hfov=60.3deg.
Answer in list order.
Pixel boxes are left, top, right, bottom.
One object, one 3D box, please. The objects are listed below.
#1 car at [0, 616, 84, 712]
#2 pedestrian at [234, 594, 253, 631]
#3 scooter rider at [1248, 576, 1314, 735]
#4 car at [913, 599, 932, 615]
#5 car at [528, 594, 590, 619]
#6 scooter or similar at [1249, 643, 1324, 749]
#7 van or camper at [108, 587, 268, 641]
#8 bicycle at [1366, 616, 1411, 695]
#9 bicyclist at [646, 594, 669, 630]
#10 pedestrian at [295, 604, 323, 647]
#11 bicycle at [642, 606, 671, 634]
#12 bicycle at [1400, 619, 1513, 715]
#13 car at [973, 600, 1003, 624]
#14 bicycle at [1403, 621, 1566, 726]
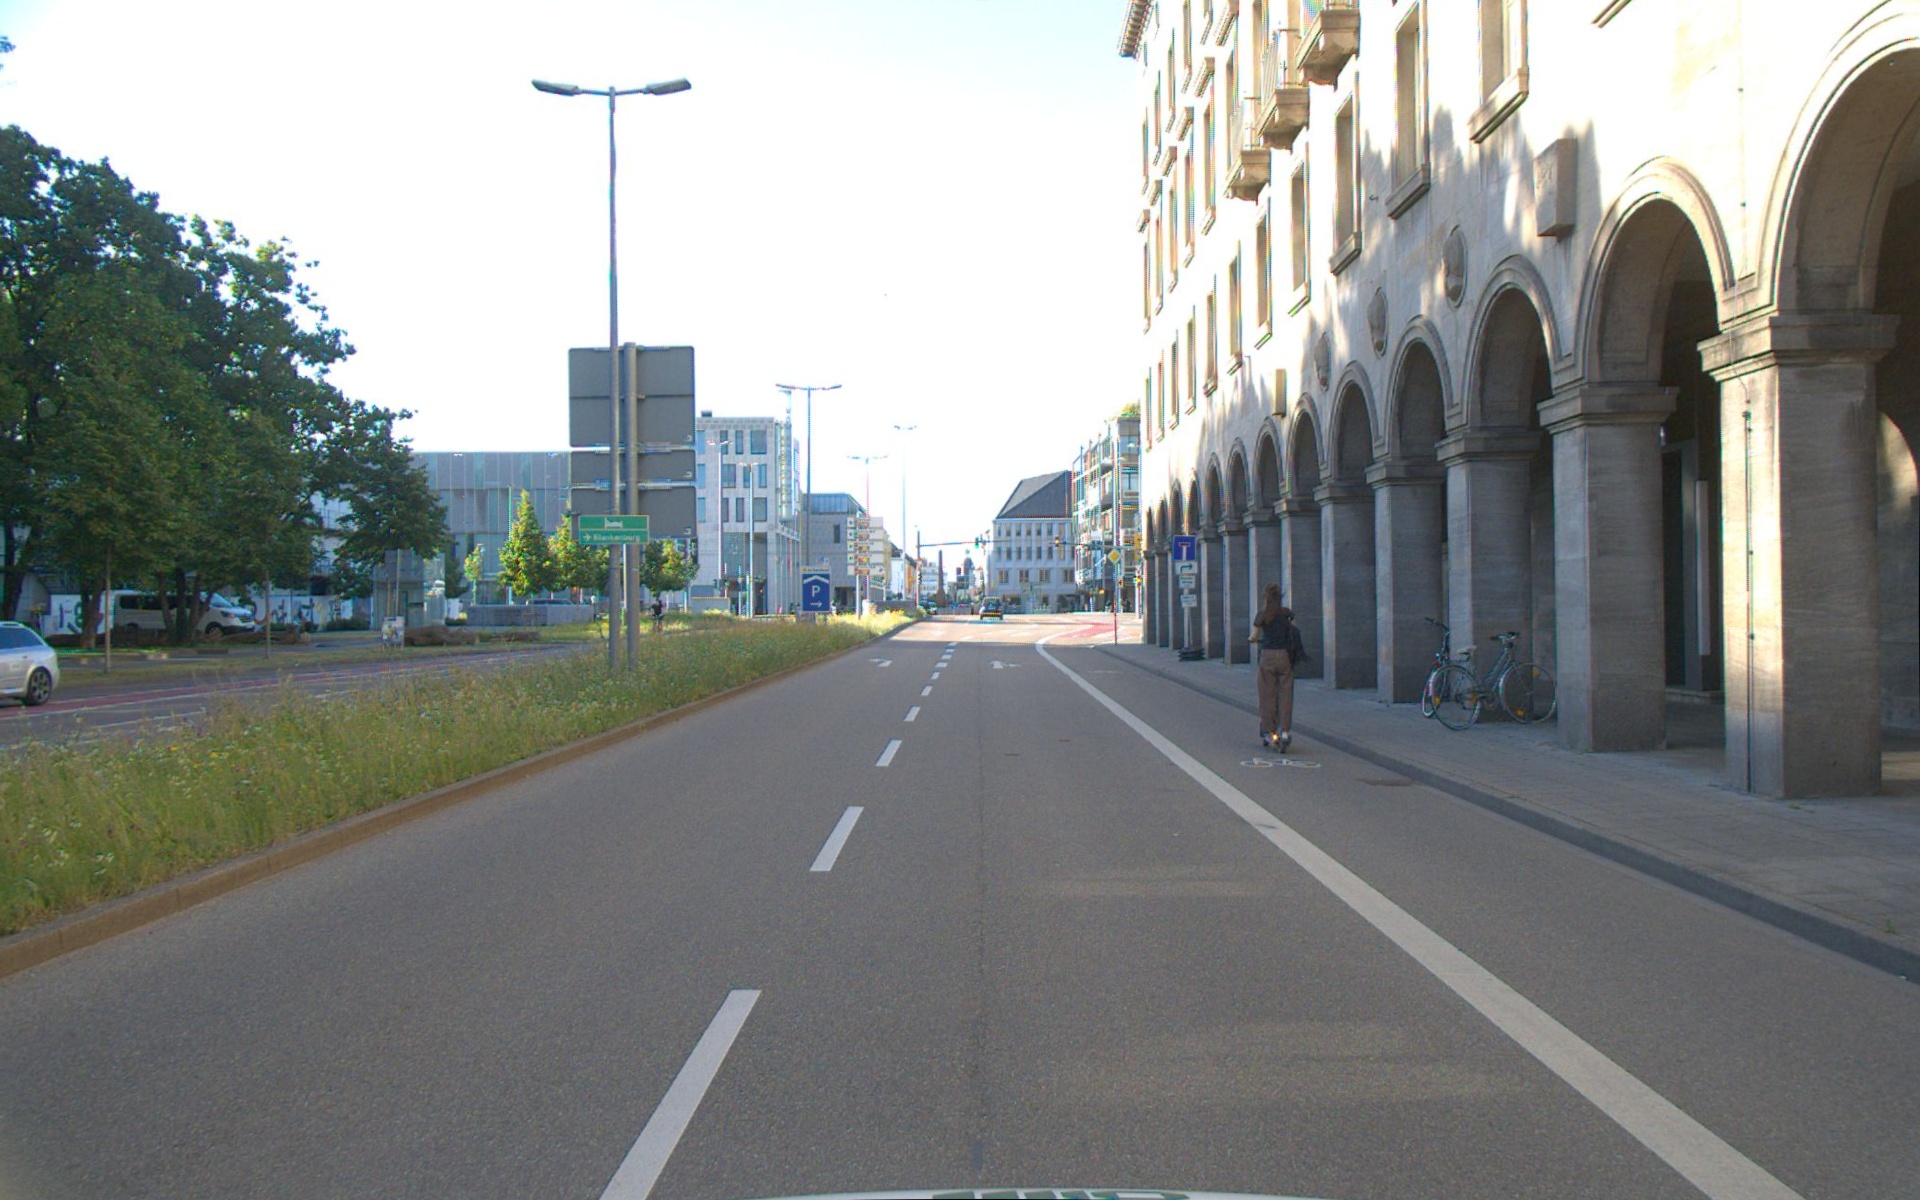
[{"bbox_3d":[-16.617,1.060,26.941,1.892,1.553,4.590,-1,0,6],"label":"car"},{"bbox_3d":[-33.933,0.601,78.339,0.567,1.718,0.835,-1,0,-1],"label":"pedestrian"},{"bbox_3d":[3.416,0.580,17.615,0.550,1.660,0.650,-1,0,-1],"label":"scooter rider"},{"bbox_3d":[-4.226,0.773,187.142,1.952,1.773,4.647,0,1,1],"label":"car"},{"bbox_3d":[-31.654,0.528,130.679,4.551,1.842,1.869,-1,-2,-7],"label":"car"},{"bbox_3d":[3.428,0.989,17.428,0.544,1.049,1.117,-1,0,-1],"label":"scooter or similar"},{"bbox_3d":[-31.828,0.617,68.314,5.545,2.049,2.258,-1,-2,2],"label":"van or camper"},{"bbox_3d":[6.320,0.798,24.356,0.460,1.069,1.714,-2,0,19],"label":"bicycle"},{"bbox_3d":[-14.059,0.570,76.853,0.731,1.618,1.203,-1,-1,5],"label":"bicyclist"},{"bbox_3d":[-24.181,0.931,61.434,0.599,1.554,0.943,-1,0,6],"label":"pedestrian"},{"bbox_3d":[-14.066,0.922,76.764,0.742,1.297,2.259,-1,0,5],"label":"bicycle"},{"bbox_3d":[6.111,0.806,20.318,0.601,1.069,1.702,-3,0,43],"label":"bicycle"},{"bbox_3d":[1.916,0.833,113.449,1.740,1.591,3.787,-1,0,-3],"label":"car"},{"bbox_3d":[5.832,0.800,18.392,1.679,1.069,0.526,-2,0,-14],"label":"bicycle"}]
